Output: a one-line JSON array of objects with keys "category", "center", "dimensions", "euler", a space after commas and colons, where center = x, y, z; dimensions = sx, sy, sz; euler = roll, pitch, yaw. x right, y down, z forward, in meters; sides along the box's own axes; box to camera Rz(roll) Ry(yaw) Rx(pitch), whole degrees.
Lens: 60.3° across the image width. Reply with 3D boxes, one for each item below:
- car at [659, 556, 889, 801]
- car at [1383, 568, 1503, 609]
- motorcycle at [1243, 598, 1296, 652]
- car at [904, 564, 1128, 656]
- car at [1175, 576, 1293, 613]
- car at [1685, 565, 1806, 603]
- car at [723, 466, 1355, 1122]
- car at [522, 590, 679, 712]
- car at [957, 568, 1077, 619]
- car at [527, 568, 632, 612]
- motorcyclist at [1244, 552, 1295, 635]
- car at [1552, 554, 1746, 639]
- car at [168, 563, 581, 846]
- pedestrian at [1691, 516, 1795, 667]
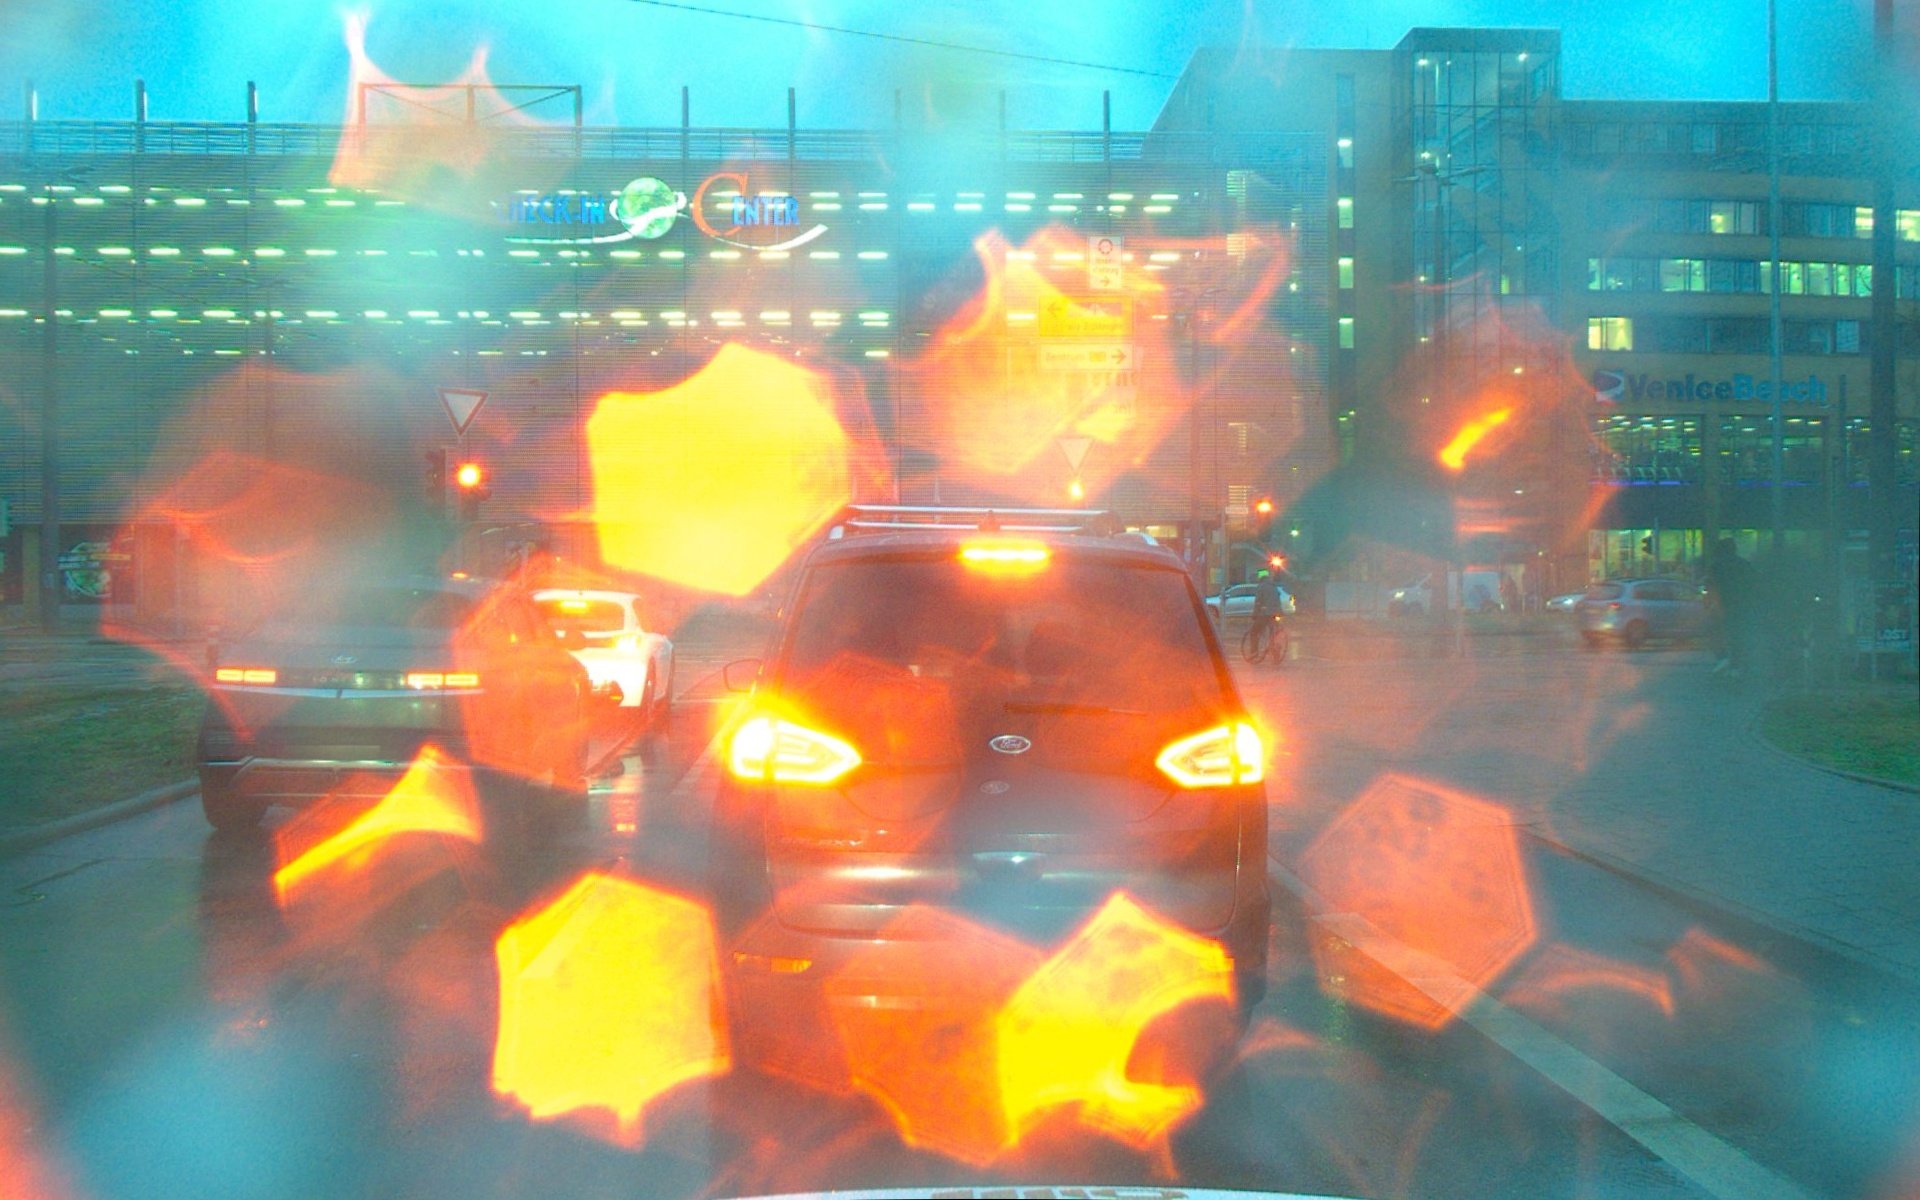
[{"category": "car", "center": [-1.478, 0.563, 13.591], "dimensions": [1.604, 1.726, 3.667], "euler": [1, 0, -5]}, {"category": "car", "center": [19.596, -0.463, 67.129], "dimensions": [4.336, 1.623, 1.797], "euler": [-1, 0, -8]}, {"category": "motorcycle", "center": [5.929, 0.472, 31.731], "dimensions": [0.835, 0.989, 1.582], "euler": [0, 0, 5]}, {"category": "car", "center": [1.178, 0.198, 35.967], "dimensions": [4.583, 1.883, 1.827], "euler": [-1, 0, -10]}, {"category": "car", "center": [11.009, -0.228, 66.604], "dimensions": [4.336, 1.414, 1.797], "euler": [-1, 0, -8]}, {"category": "car", "center": [33.184, -0.678, 69.930], "dimensions": [4.348, 1.561, 1.797], "euler": [-1, 0, -8]}, {"category": "car", "center": [0.120, 0.528, 6.697], "dimensions": [1.700, 1.768, 4.244], "euler": [2, 0, -3]}, {"category": "car", "center": [-4.126, 0.530, 19.429], "dimensions": [1.512, 1.273, 4.060], "euler": [0, 0, -8]}, {"category": "car", "center": [2.349, -0.280, 68.479], "dimensions": [4.747, 2.035, 1.797], "euler": [-1, 0, -8]}, {"category": "car", "center": [-15.460, -0.403, 67.398], "dimensions": [3.910, 1.646, 1.736], "euler": [2, 1, -6]}, {"category": "motorcyclist", "center": [5.930, -0.134, 31.745], "dimensions": [0.850, 1.561, 1.109], "euler": [0, 0, 5]}, {"category": "car", "center": [16.660, -0.120, 40.089], "dimensions": [3.917, 1.907, 1.994], "euler": [-2, 1, -12]}, {"category": "car", "center": [-3.800, 0.585, 11.470], "dimensions": [1.718, 1.601, 3.996], "euler": [0, 0, -5]}, {"category": "pedestrian", "center": [10.509, -0.123, 22.241], "dimensions": [1.146, 1.957, 0.898], "euler": [2, 0, 22]}]
